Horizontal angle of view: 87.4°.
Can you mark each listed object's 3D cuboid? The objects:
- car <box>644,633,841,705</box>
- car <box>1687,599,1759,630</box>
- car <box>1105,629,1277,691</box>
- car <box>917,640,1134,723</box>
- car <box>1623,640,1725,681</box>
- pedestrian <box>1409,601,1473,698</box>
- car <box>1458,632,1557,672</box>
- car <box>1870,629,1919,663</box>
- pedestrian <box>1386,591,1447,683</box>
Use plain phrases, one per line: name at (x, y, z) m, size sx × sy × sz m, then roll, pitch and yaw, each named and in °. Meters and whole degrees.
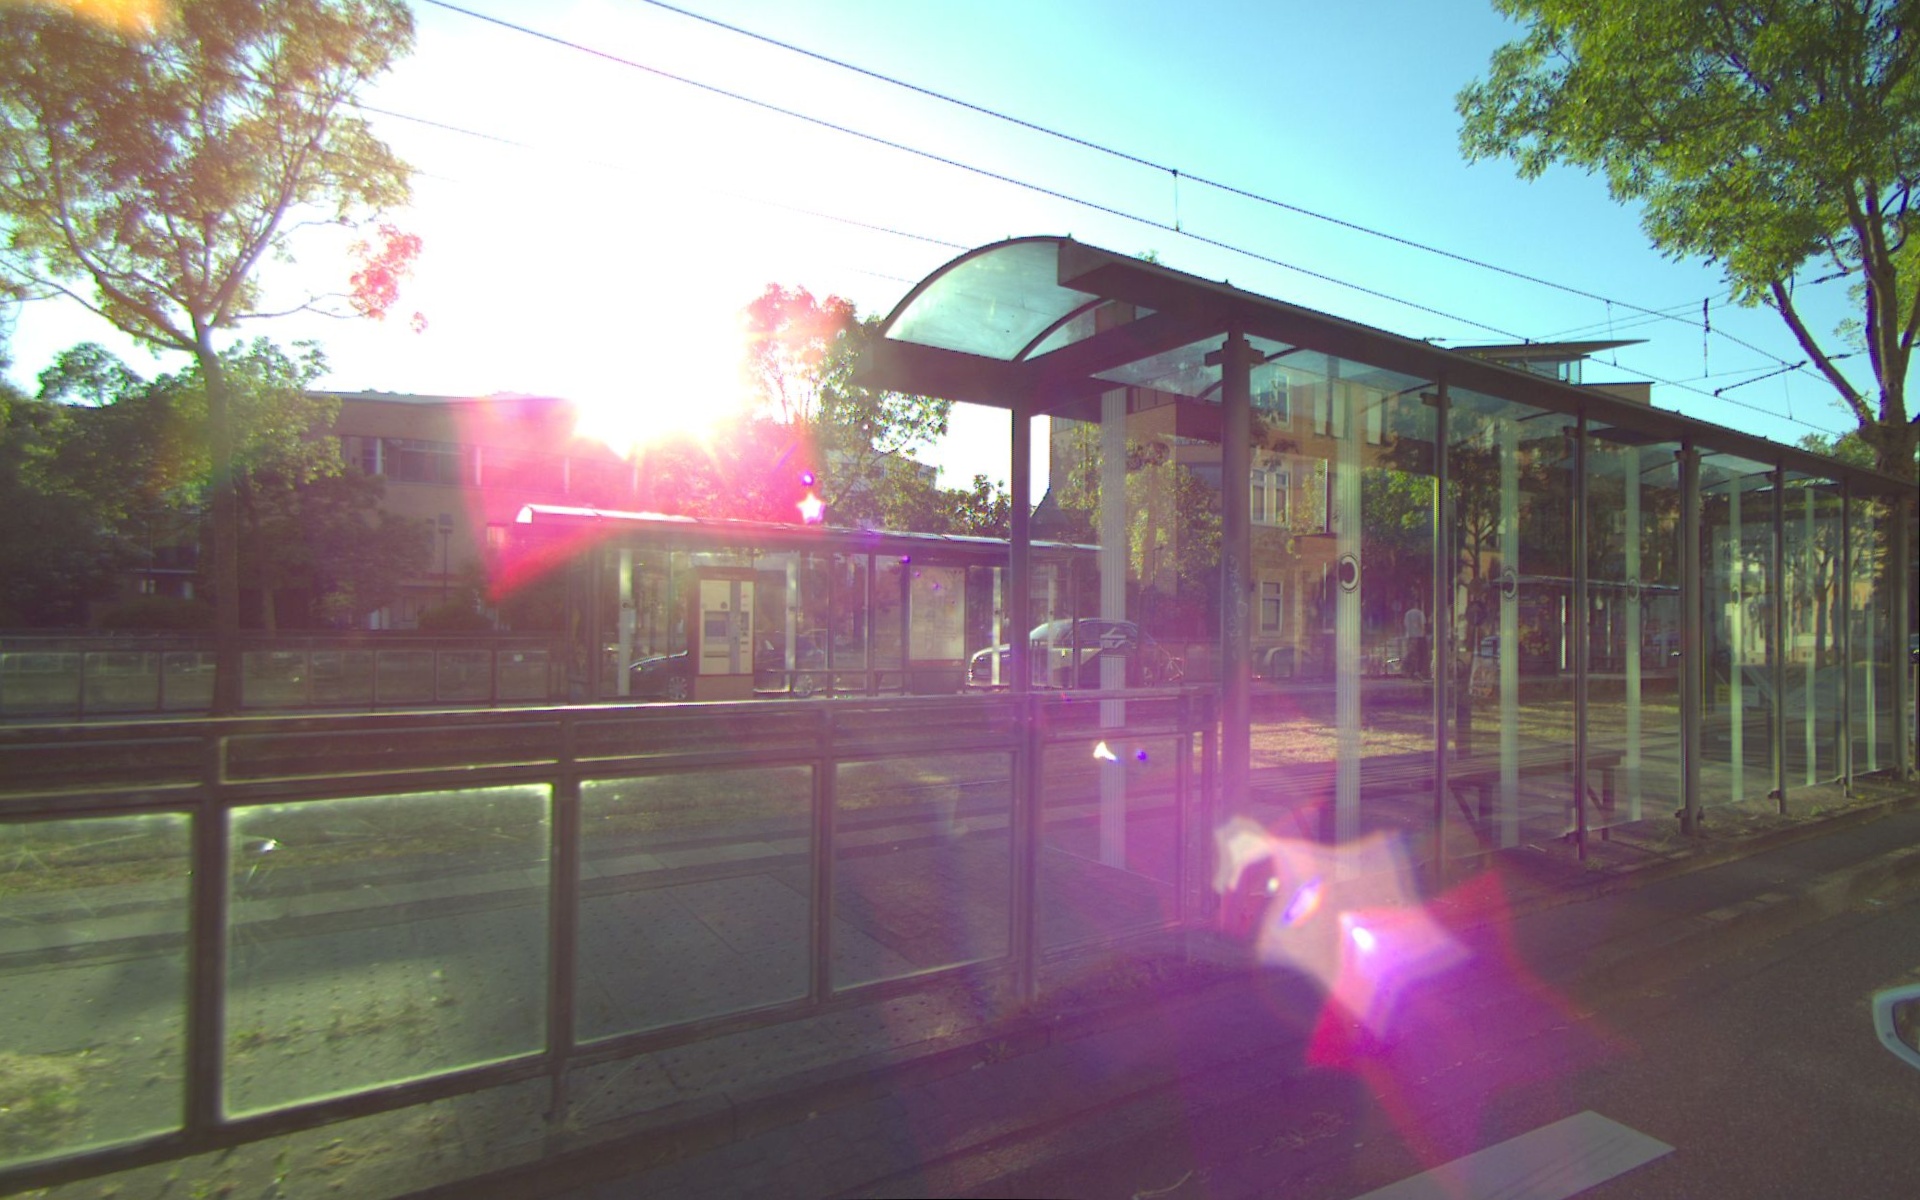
car at (-4.436, 1.372, 20.639) m, size 3.652 × 1.315 × 1.530 m, roll 2°, pitch -1°, yaw -34°
car at (38.533, 0.735, 50.690) m, size 4.389 × 1.432 × 1.599 m, roll 2°, pitch -1°, yaw -34°
car at (5.496, 1.384, 23.736) m, size 3.957 × 1.315 × 1.684 m, roll 2°, pitch -1°, yaw -33°
car at (1.426, 1.632, 21.132) m, size 4.313 × 1.528 × 1.851 m, roll 2°, pitch -1°, yaw -33°
car at (27.489, 2.307, 38.642) m, size 4.295 × 1.434 × 1.783 m, roll 2°, pitch 0°, yaw -34°
pedestrian at (10.443, 1.066, 21.806) m, size 1.114 × 2.040 × 0.766 m, roll 1°, pitch -1°, yaw -31°
car at (20.288, 1.919, 37.187) m, size 3.708 × 1.394 × 1.603 m, roll 2°, pitch -5°, yaw -33°
car at (47.184, 2.243, 49.680) m, size 4.839 × 1.572 × 1.983 m, roll 2°, pitch -1°, yaw -32°
pedestrian at (10.407, 0.835, 22.887) m, size 1.114 × 2.040 × 0.766 m, roll 1°, pitch -1°, yaw -31°
